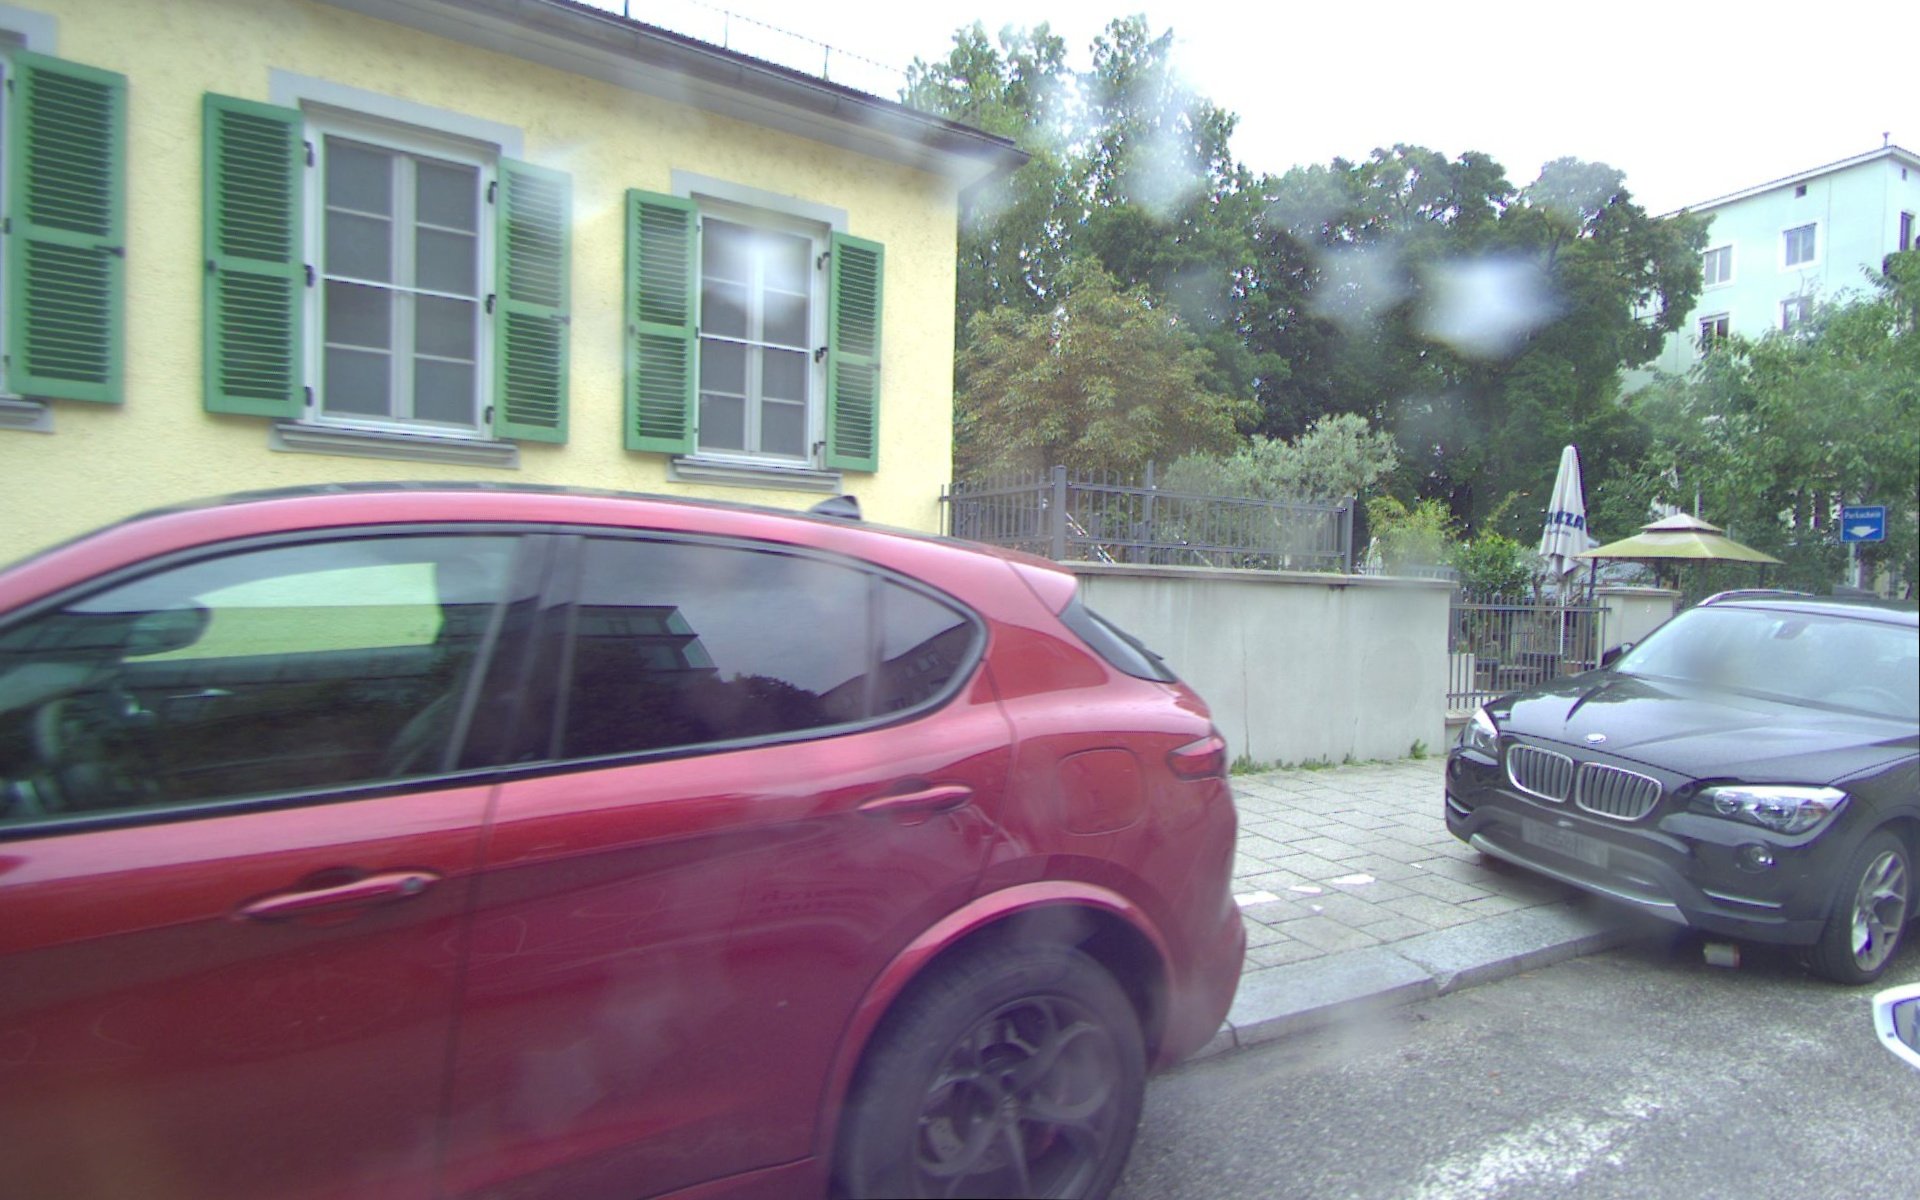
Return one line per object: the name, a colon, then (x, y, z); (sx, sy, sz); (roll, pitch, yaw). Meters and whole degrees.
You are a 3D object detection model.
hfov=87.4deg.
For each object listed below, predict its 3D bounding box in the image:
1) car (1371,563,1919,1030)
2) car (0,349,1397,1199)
car: (4.634, 0.713, 5.459); (4.683, 1.629, 1.838); (1, 2, -28)
car: (-1.423, 0.497, 2.304); (4.749, 1.714, 1.894); (1, 2, -29)
